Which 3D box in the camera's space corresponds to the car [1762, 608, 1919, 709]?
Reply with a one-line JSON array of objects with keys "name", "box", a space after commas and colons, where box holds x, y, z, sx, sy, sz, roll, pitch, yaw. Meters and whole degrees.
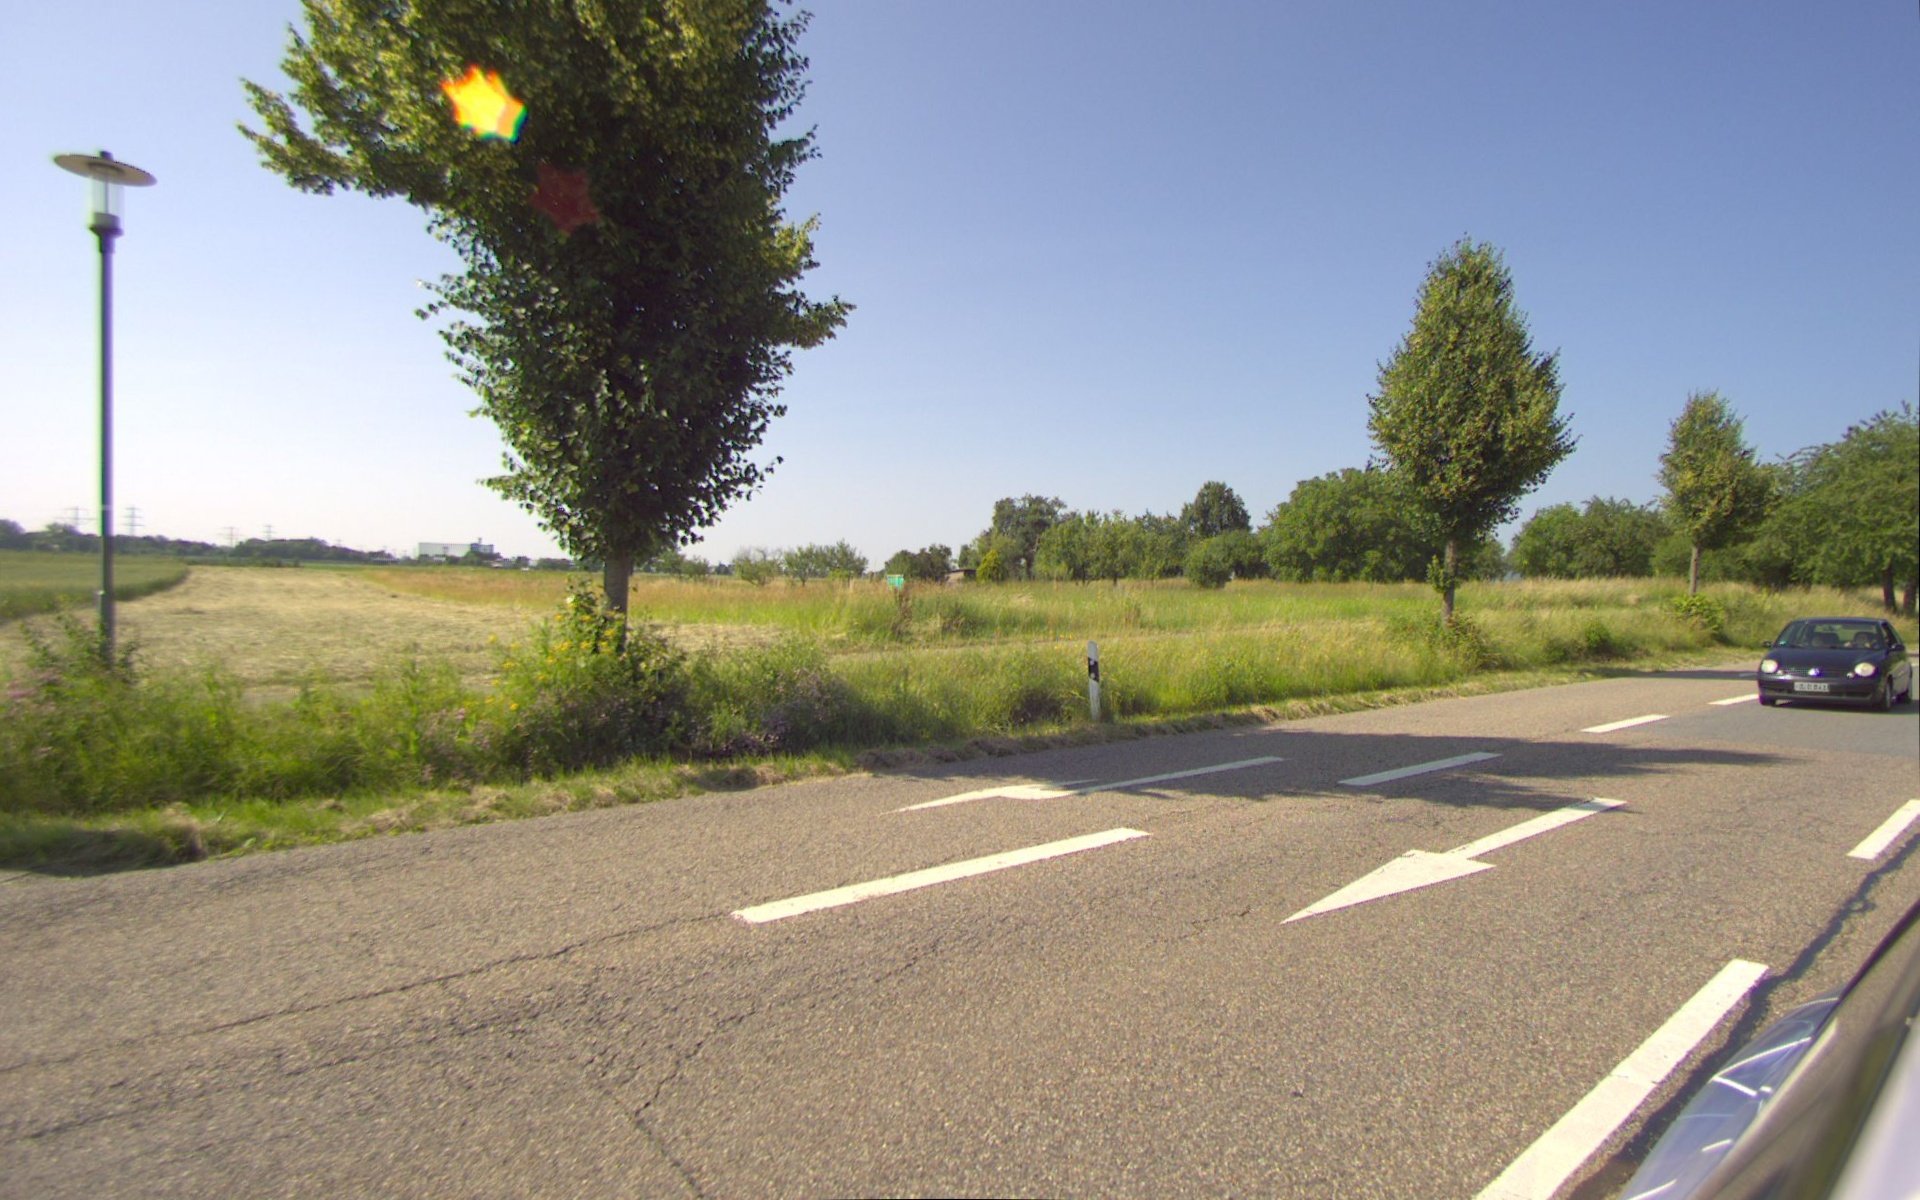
[{"name": "car", "box": [14.531, 0.865, 16.525, 3.559, 1.451, 1.628, 0, 0, -41]}]
